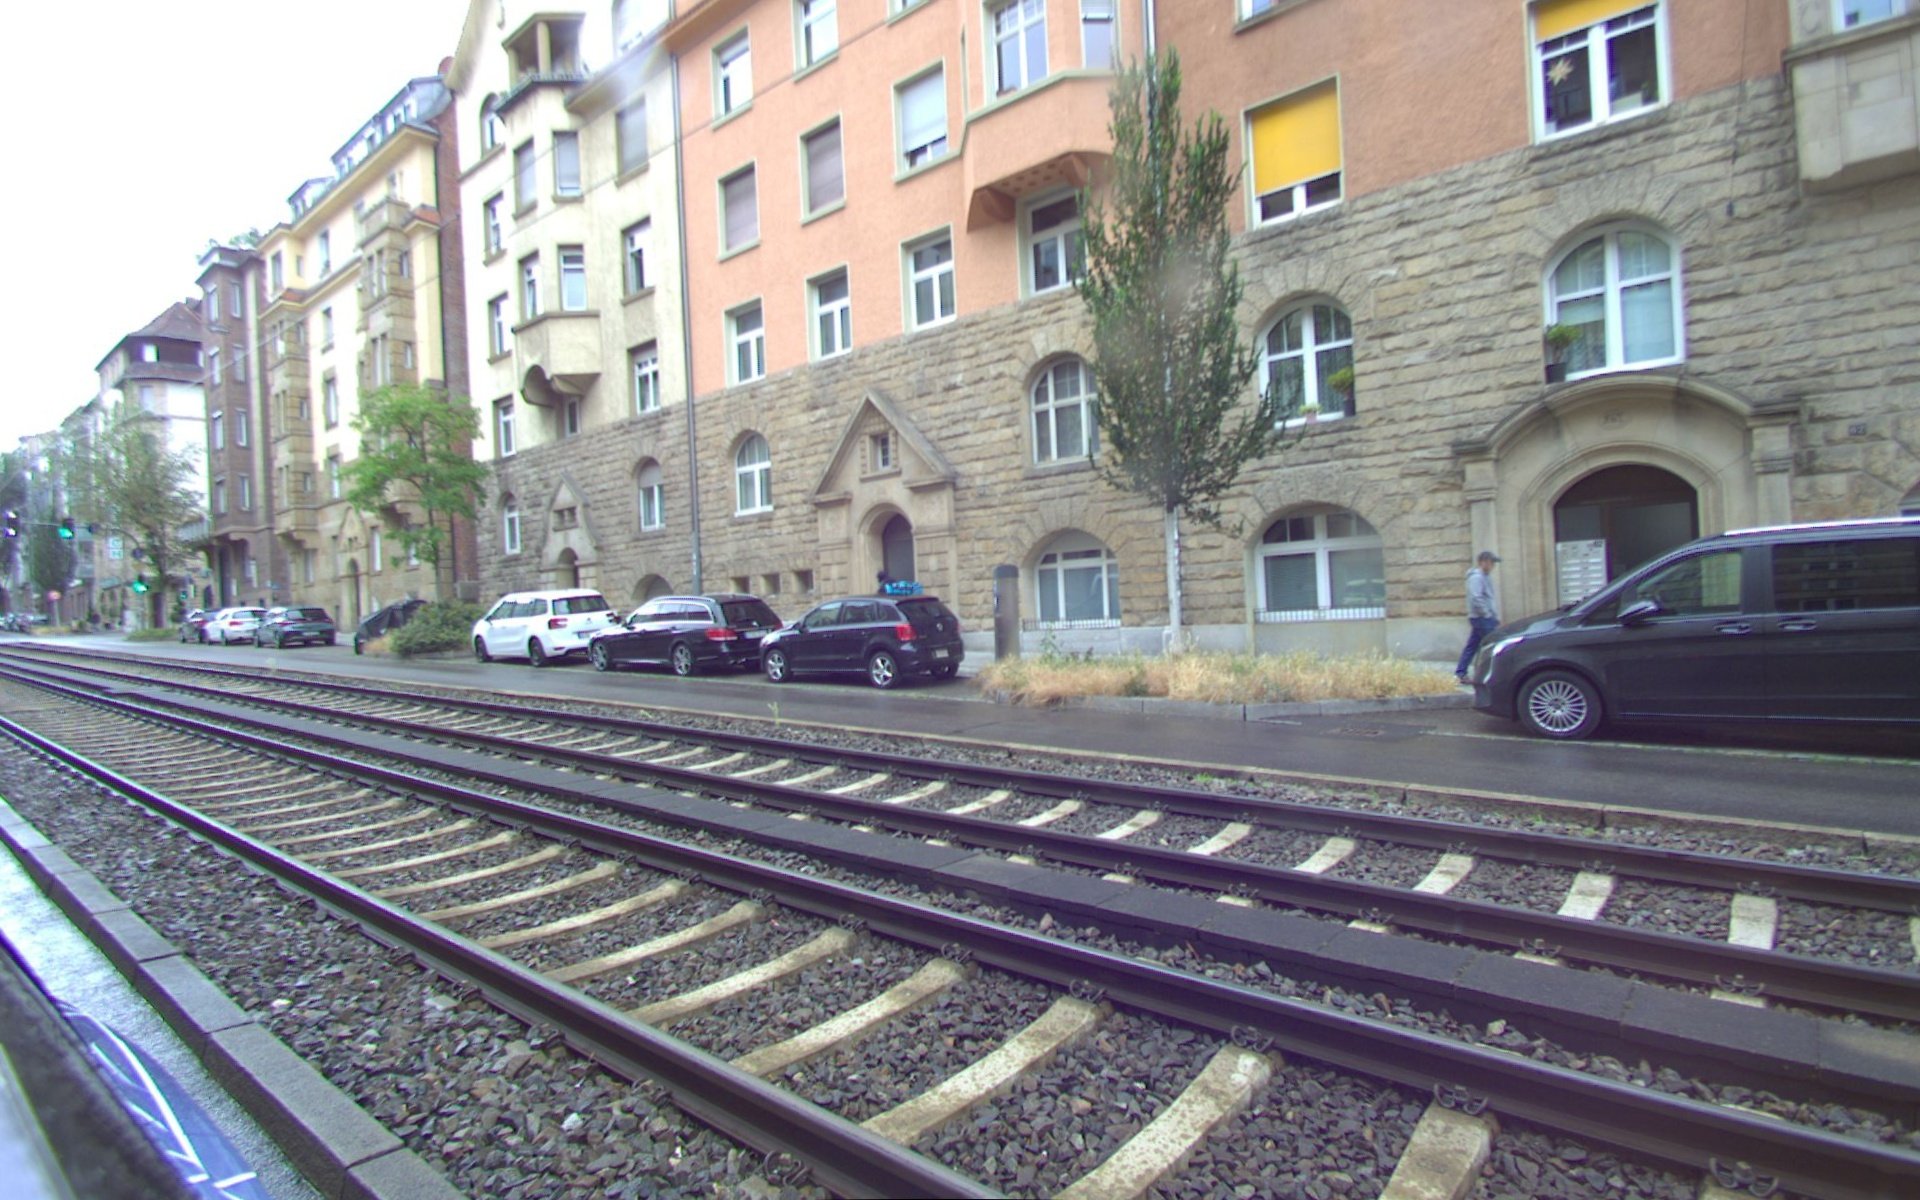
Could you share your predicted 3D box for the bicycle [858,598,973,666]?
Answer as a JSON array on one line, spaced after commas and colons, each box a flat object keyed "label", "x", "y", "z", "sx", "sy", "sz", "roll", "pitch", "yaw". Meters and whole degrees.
[{"label": "bicycle", "x": -0.840, "y": 0.588, "z": 18.813, "sx": 2.031, "sy": 1.195, "sz": 0.817, "roll": -1, "pitch": 0, "yaw": 32}]

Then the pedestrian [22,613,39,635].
[{"label": "pedestrian", "x": -86.859, "y": 2.221, "z": 94.559, "sx": 1.163, "sy": 1.972, "sz": 1.042, "roll": -1, "pitch": 0, "yaw": 43}]

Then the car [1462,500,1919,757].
[{"label": "car", "x": 7.339, "y": 0.214, "z": 8.997, "sx": 4.823, "sy": 1.956, "sz": 1.973, "roll": -1, "pitch": 0, "yaw": 41}]

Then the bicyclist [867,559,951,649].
[{"label": "bicyclist", "x": -0.948, "y": 0.079, "z": 18.898, "sx": 1.249, "sy": 1.609, "sz": 0.878, "roll": -2, "pitch": 0, "yaw": 31}]

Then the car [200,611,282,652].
[{"label": "car", "x": -28.293, "y": 1.215, "z": 39.776, "sx": 4.030, "sy": 1.452, "sz": 1.748, "roll": -1, "pitch": 1, "yaw": 42}]

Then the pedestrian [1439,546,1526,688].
[{"label": "pedestrian", "x": 6.463, "y": 0.194, "z": 12.522, "sx": 0.765, "sy": 1.653, "sz": 0.692, "roll": -1, "pitch": 5, "yaw": 41}]

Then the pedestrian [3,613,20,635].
[{"label": "pedestrian", "x": -87.697, "y": 2.232, "z": 93.578, "sx": 1.163, "sy": 1.972, "sz": 1.042, "roll": -1, "pitch": 0, "yaw": 43}]

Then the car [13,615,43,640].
[{"label": "car", "x": -69.050, "y": 2.001, "z": 74.986, "sx": 1.561, "sy": 1.691, "sz": 3.794, "roll": -2, "pitch": 2, "yaw": -43}]

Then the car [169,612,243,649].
[{"label": "car", "x": -32.152, "y": 1.270, "z": 43.099, "sx": 3.843, "sy": 1.452, "sz": 1.748, "roll": -1, "pitch": 0, "yaw": 41}]

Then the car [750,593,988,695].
[{"label": "car", "x": -1.563, "y": 0.669, "z": 16.931, "sx": 3.638, "sy": 1.508, "sz": 1.912, "roll": -1, "pitch": 0, "yaw": 38}]

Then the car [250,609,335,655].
[{"label": "car", "x": -23.691, "y": 1.099, "z": 35.873, "sx": 3.845, "sy": 1.452, "sz": 1.656, "roll": -1, "pitch": 1, "yaw": 43}]

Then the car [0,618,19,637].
[{"label": "car", "x": -80.926, "y": 2.299, "z": 85.424, "sx": 3.843, "sy": 1.527, "sz": 1.748, "roll": -1, "pitch": 0, "yaw": 41}]

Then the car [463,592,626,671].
[{"label": "car", "x": -9.752, "y": 0.703, "z": 23.625, "sx": 4.144, "sy": 1.668, "sz": 1.843, "roll": -1, "pitch": 0, "yaw": 41}]

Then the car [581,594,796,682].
[{"label": "car", "x": -5.445, "y": 0.697, "z": 19.952, "sx": 4.599, "sy": 1.506, "sz": 1.824, "roll": -1, "pitch": 0, "yaw": 41}]
